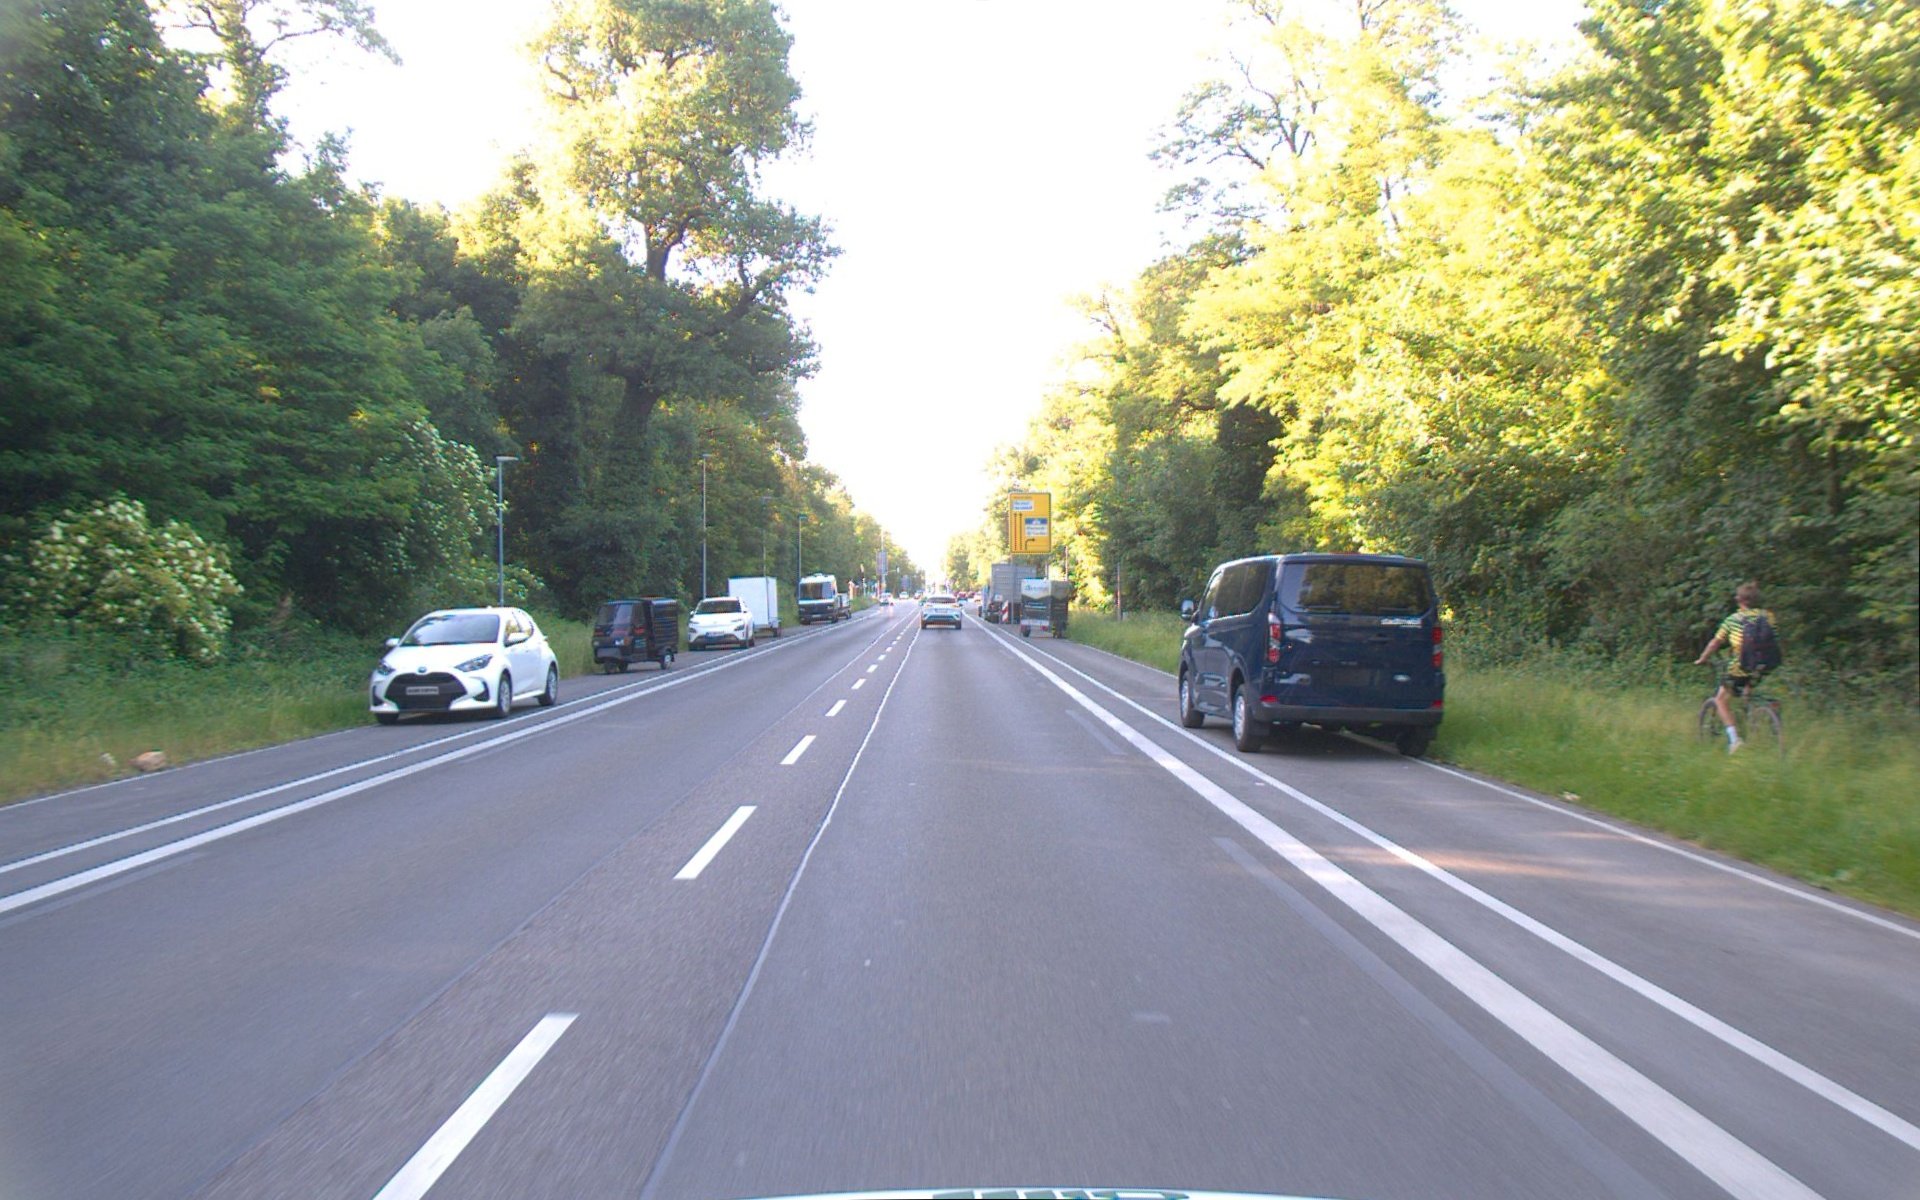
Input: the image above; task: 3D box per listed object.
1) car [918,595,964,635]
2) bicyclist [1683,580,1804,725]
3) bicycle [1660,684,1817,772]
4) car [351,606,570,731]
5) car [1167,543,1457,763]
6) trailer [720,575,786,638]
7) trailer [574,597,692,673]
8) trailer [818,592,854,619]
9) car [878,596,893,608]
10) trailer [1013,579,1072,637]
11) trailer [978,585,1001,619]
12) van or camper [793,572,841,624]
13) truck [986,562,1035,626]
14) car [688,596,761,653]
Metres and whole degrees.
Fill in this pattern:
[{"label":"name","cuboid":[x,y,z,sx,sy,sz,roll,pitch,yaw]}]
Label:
[{"label":"car","cuboid":[-0.849,0.643,73.615,1.953,1.668,3.999,-1,0,-1]},{"label":"bicyclist","cuboid":[7.545,0.483,15.975,0.598,1.347,1.175,0,0,-1]},{"label":"bicycle","cuboid":[7.558,1.222,16.161,0.579,0.704,1.996,0,0,-1]},{"label":"car","cuboid":[-6.913,0.890,23.330,1.829,1.476,4.070,-3,0,-1]},{"label":"car","cuboid":[3.702,0.500,18.407,2.070,2.049,5.039,2,0,-1]},{"label":"trailer","cuboid":[-8.055,0.248,64.551,2.032,2.333,3.487,-1,0,1]},{"label":"trailer","cuboid":[-7.152,0.736,36.351,1.366,1.601,2.675,0,0,19]},{"label":"trailer","cuboid":[-8.109,0.351,108.772,1.439,1.688,3.368,-2,-1,12]},{"label":"car","cuboid":[-9.234,0.214,205.674,1.644,1.440,4.000,-1,0,0]},{"label":"trailer","cuboid":[3.142,0.283,62.666,1.580,2.149,2.397,0,0,20]},{"label":"trailer","cuboid":[2.047,0.128,115.943,1.469,2.274,4.549,1,0,0]},{"label":"van or camper","cuboid":[-8.195,-0.133,95.399,2.255,2.816,5.556,-3,0,-1]},{"label":"truck","cuboid":[2.763,-0.317,92.493,2.454,3.425,7.106,1,0,0]},{"label":"car","cuboid":[-7.234,0.713,51.191,1.778,1.599,4.204,-2,0,-3]}]
